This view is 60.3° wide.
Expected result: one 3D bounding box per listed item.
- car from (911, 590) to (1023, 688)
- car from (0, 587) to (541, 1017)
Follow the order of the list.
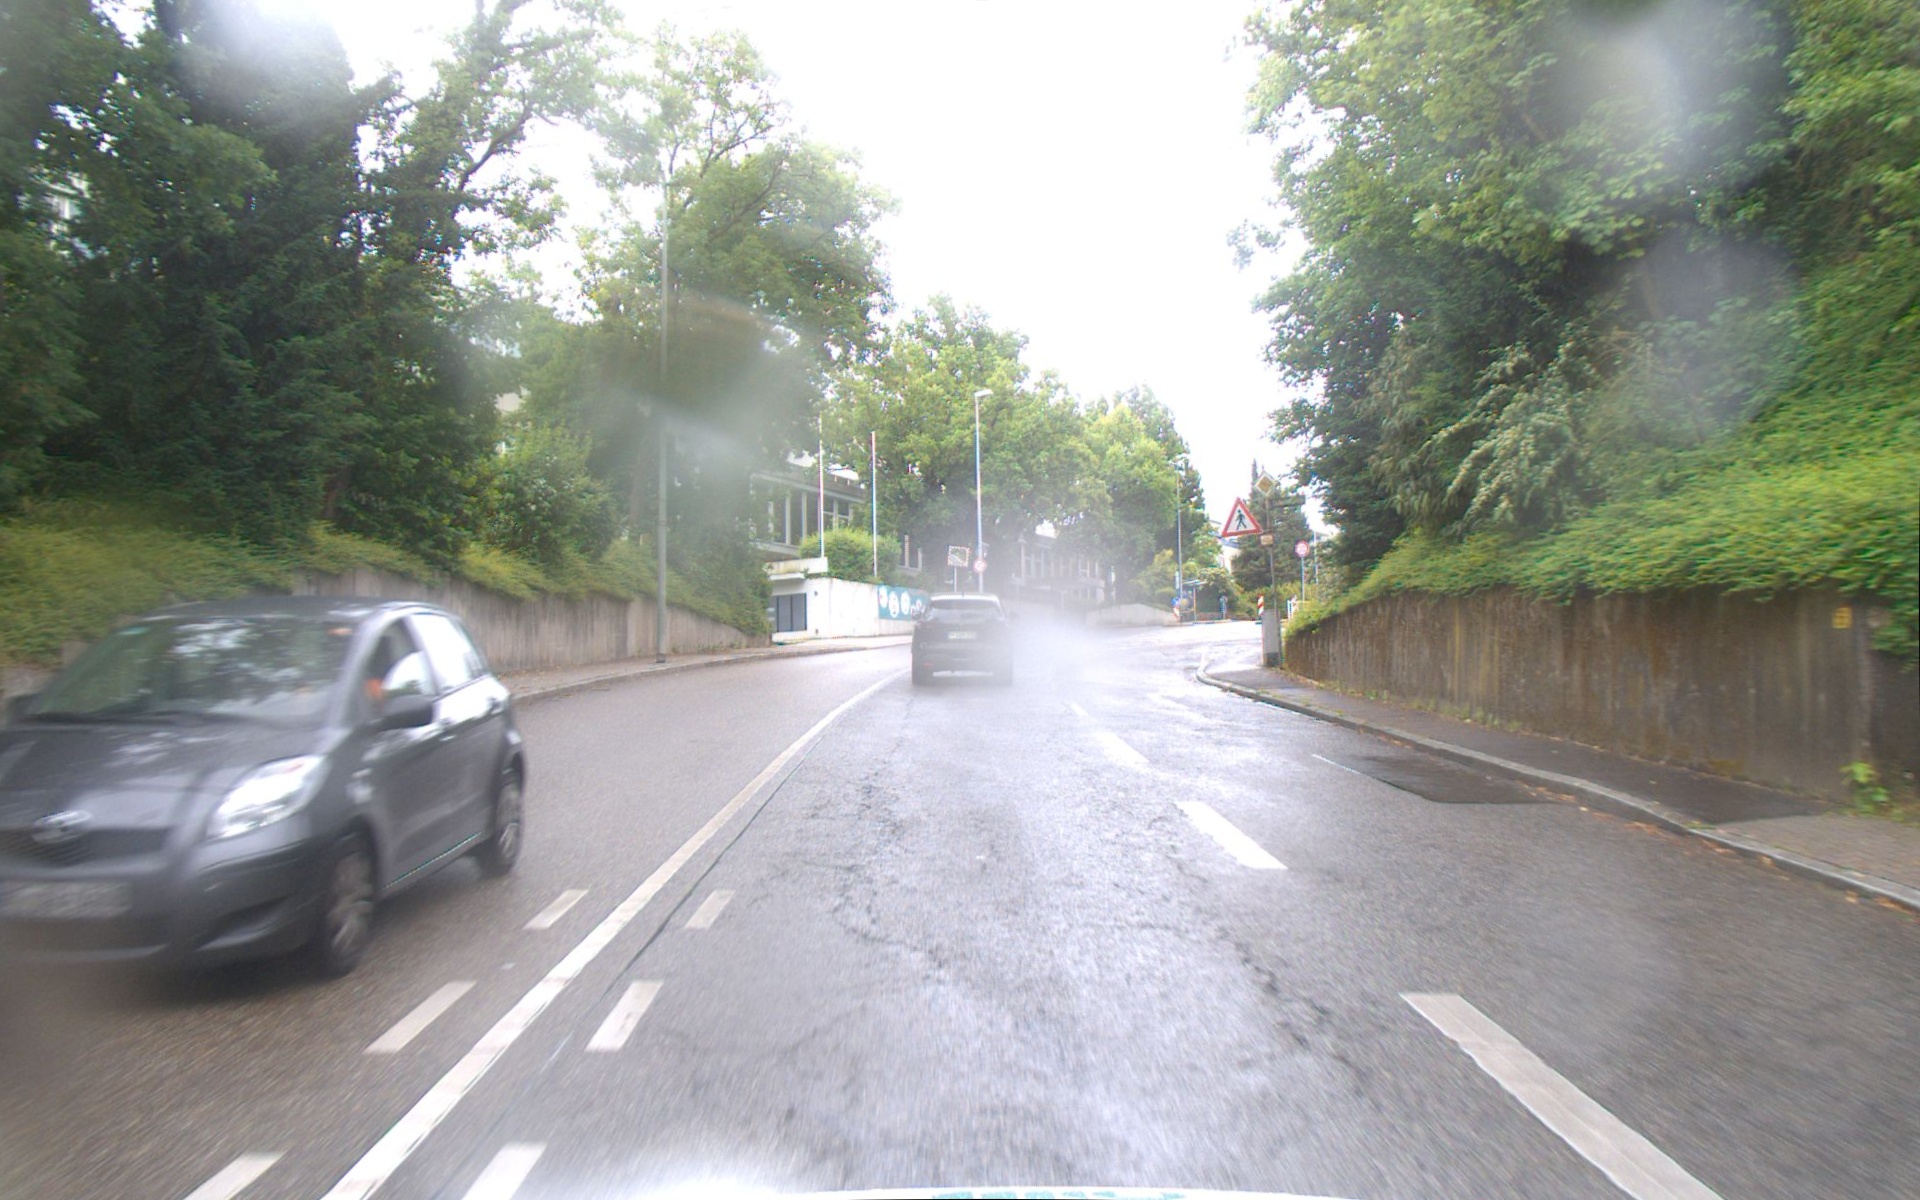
[{"bbox_3d":[0.078,0.661,30.311,1.889,1.641,3.999,-1,0,-1],"label":"car"},{"bbox_3d":[-3.178,0.726,7.675,1.641,1.522,3.459,-1,0,-2],"label":"car"}]
